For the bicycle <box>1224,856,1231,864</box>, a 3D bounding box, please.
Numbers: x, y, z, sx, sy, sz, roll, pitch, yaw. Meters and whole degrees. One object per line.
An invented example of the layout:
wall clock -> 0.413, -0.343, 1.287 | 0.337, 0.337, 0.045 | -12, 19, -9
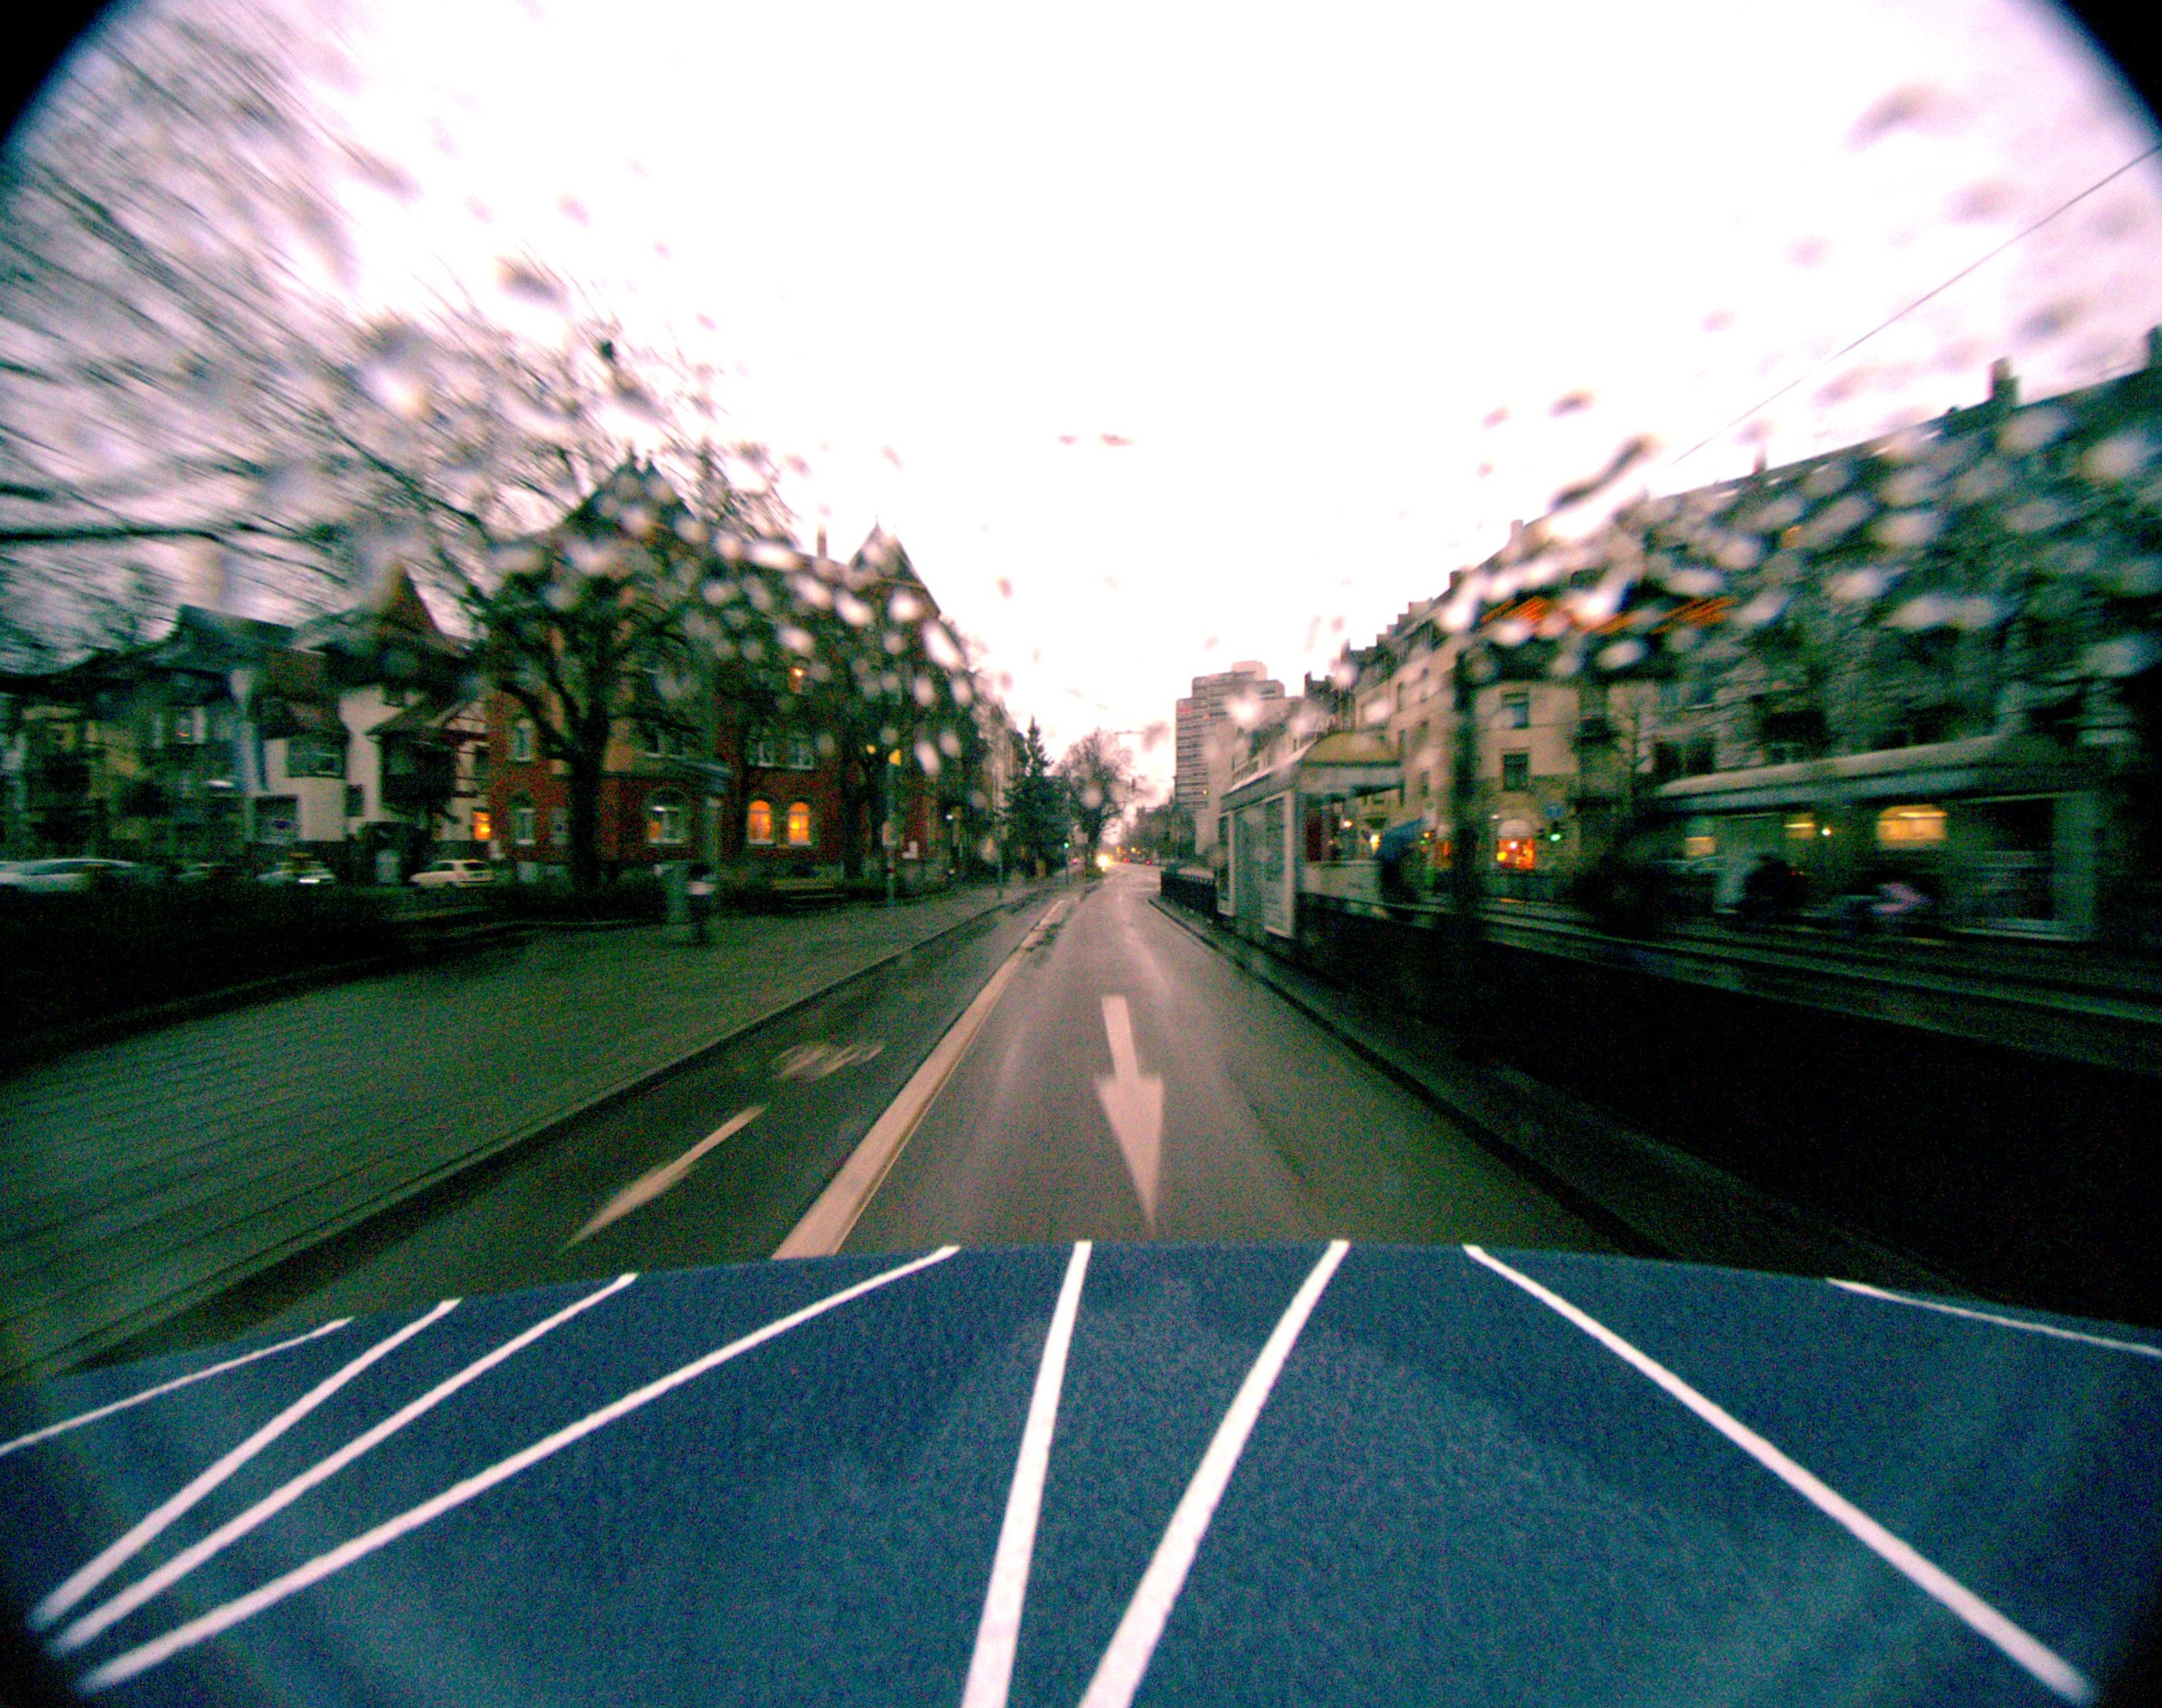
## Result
bicycle -> 17.562, 0.735, 91.333 | 0.530, 0.884, 2.210 | -3, 0, 5

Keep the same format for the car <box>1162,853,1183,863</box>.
car -> 18.248, 0.764, 151.930 | 3.839, 1.707, 1.727 | -3, 0, 1

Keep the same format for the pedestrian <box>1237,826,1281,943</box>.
pedestrian -> 3.114, 0.521, 13.315 | 0.558, 1.975, 0.571 | -3, 1, 2

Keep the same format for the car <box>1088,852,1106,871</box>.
car -> 1.667, 0.777, 81.813 | 1.726, 1.934, 4.508 | -3, 0, -1

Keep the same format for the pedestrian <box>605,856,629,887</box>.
pedestrian -> -19.769, 0.747, 32.371 | 0.545, 1.308, 0.609 | -1, 0, 21

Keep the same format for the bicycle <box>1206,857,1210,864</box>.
bicycle -> 17.642, 0.936, 105.585 | 0.435, 1.001, 1.881 | 0, 0, 2

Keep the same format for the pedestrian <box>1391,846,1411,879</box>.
pedestrian -> 19.108, 0.502, 45.394 | 0.796, 1.867, 0.896 | -3, 1, 37

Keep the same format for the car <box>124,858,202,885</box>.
car -> -53.865, 0.989, 44.572 | 3.991, 1.489, 1.728 | 0, 0, 21

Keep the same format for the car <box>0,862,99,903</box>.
car -> -40.017, 1.045, 28.277 | 1.846, 1.467, 4.008 | 0, 0, 29

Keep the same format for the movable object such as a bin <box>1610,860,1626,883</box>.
movable object such as a bin -> 27.489, 0.896, 38.914 | 0.647, 1.129, 0.693 | 0, 1, 38

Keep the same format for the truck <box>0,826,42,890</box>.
truck -> -53.664, 0.166, 34.749 | 2.627, 3.074, 6.744 | 0, 0, 20

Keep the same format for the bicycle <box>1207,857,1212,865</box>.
bicycle -> 17.545, 0.962, 103.764 | 0.435, 1.001, 1.605 | -3, 0, 2

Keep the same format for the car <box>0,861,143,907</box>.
car -> -35.550, 0.986, 26.038 | 1.846, 1.467, 4.008 | 0, 0, 29

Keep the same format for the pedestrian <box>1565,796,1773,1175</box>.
pedestrian -> 3.003, 0.636, 3.930 | 0.558, 1.797, 0.571 | -3, 1, 2

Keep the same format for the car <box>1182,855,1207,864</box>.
car -> 18.301, 0.909, 122.950 | 3.839, 1.405, 1.727 | -1, 0, 1

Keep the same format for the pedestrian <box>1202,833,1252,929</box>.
pedestrian -> 3.051, 0.553, 15.940 | 0.855, 1.944, 0.571 | -3, 1, 2

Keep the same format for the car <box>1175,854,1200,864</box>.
car -> 18.004, 0.841, 128.437 | 3.839, 1.405, 1.727 | -3, 0, 1

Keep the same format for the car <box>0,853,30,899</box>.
car -> -46.398, 0.902, 30.934 | 1.846, 1.922, 4.008 | 0, 0, 29

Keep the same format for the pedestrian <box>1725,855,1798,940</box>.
pedestrian -> 11.715, 0.739, 13.096 | 0.685, 1.395, 0.578 | -3, 1, 1

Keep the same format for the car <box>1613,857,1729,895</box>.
car -> 25.395, 0.973, 32.798 | 3.816, 1.464, 1.617 | -3, 0, 39

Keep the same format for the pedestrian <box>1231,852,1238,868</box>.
pedestrian -> 16.892, 0.656, 83.810 | 0.573, 1.632, 0.449 | -3, 1, -2

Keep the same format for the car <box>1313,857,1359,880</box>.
car -> 17.818, 0.983, 53.196 | 1.677, 1.507, 3.677 | -3, 0, -5

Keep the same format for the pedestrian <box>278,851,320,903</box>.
pedestrian -> -28.408, 0.827, 27.603 | 0.876, 1.853, 0.816 | 0, 1, 28

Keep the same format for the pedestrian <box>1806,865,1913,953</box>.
pedestrian -> 11.793, 0.826, 11.530 | 1.058, 1.247, 0.506 | -3, 1, 1

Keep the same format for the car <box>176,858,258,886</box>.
car -> -48.085, 0.954, 42.302 | 3.991, 1.498, 1.728 | 0, 0, 21

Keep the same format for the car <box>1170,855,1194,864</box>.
car -> 17.826, 0.915, 134.263 | 3.839, 1.405, 1.727 | -3, 0, 1

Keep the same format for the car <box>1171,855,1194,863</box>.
car -> 18.494, 0.903, 138.743 | 3.839, 1.405, 1.727 | -3, 0, 1

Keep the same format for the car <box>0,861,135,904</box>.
car -> -37.477, 0.986, 27.368 | 1.846, 1.467, 4.008 | 0, 0, 29

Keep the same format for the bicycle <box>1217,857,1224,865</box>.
bicycle -> 17.739, 0.888, 96.635 | 0.524, 1.001, 2.209 | -3, 0, 2

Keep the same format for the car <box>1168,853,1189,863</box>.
car -> 18.601, 0.813, 145.146 | 3.839, 1.707, 1.727 | -3, 0, 1

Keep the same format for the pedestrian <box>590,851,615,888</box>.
pedestrian -> -20.002, 0.652, 31.746 | 0.545, 1.517, 0.645 | -1, 0, 23

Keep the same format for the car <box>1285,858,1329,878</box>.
car -> 17.303, 1.035, 58.459 | 1.807, 1.382, 4.507 | -3, 0, -3

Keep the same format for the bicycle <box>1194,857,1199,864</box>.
bicycle -> 17.746, 0.958, 116.365 | 0.469, 1.001, 1.881 | -3, 0, 2

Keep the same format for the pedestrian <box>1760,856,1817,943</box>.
pedestrian -> 11.714, 0.743, 12.586 | 0.474, 1.395, 0.453 | -3, 1, 1

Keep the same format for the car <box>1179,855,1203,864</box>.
car -> 18.155, 0.897, 125.627 | 3.839, 1.405, 1.727 | 0, 0, 1

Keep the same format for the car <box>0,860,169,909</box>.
car -> -33.186, 0.957, 24.852 | 1.846, 1.477, 4.008 | 0, 0, 29

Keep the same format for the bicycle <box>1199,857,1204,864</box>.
bicycle -> 17.668, 0.902, 111.421 | 0.435, 1.001, 1.881 | -3, 0, 2

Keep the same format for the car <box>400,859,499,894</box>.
car -> -28.229, 0.984, 33.958 | 3.991, 1.487, 1.650 | 0, 0, 21

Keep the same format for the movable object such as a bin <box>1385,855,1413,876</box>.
movable object such as a bin -> 21.988, 0.757, 52.626 | 1.352, 1.364, 1.281 | -3, 0, 0

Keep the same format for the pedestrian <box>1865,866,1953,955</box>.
pedestrian -> 11.874, 0.799, 10.904 | 0.654, 1.211, 0.517 | -3, 1, 1

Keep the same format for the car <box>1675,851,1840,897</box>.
car -> 24.924, 0.698, 28.243 | 4.331, 1.574, 1.941 | 0, 0, 33

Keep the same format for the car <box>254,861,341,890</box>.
car -> -40.037, 1.074, 38.833 | 3.991, 1.390, 1.650 | 0, 0, 21

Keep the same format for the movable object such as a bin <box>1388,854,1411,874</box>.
movable object such as a bin -> 22.604, 0.724, 53.983 | 1.004, 1.364, 1.274 | -3, 0, 0
